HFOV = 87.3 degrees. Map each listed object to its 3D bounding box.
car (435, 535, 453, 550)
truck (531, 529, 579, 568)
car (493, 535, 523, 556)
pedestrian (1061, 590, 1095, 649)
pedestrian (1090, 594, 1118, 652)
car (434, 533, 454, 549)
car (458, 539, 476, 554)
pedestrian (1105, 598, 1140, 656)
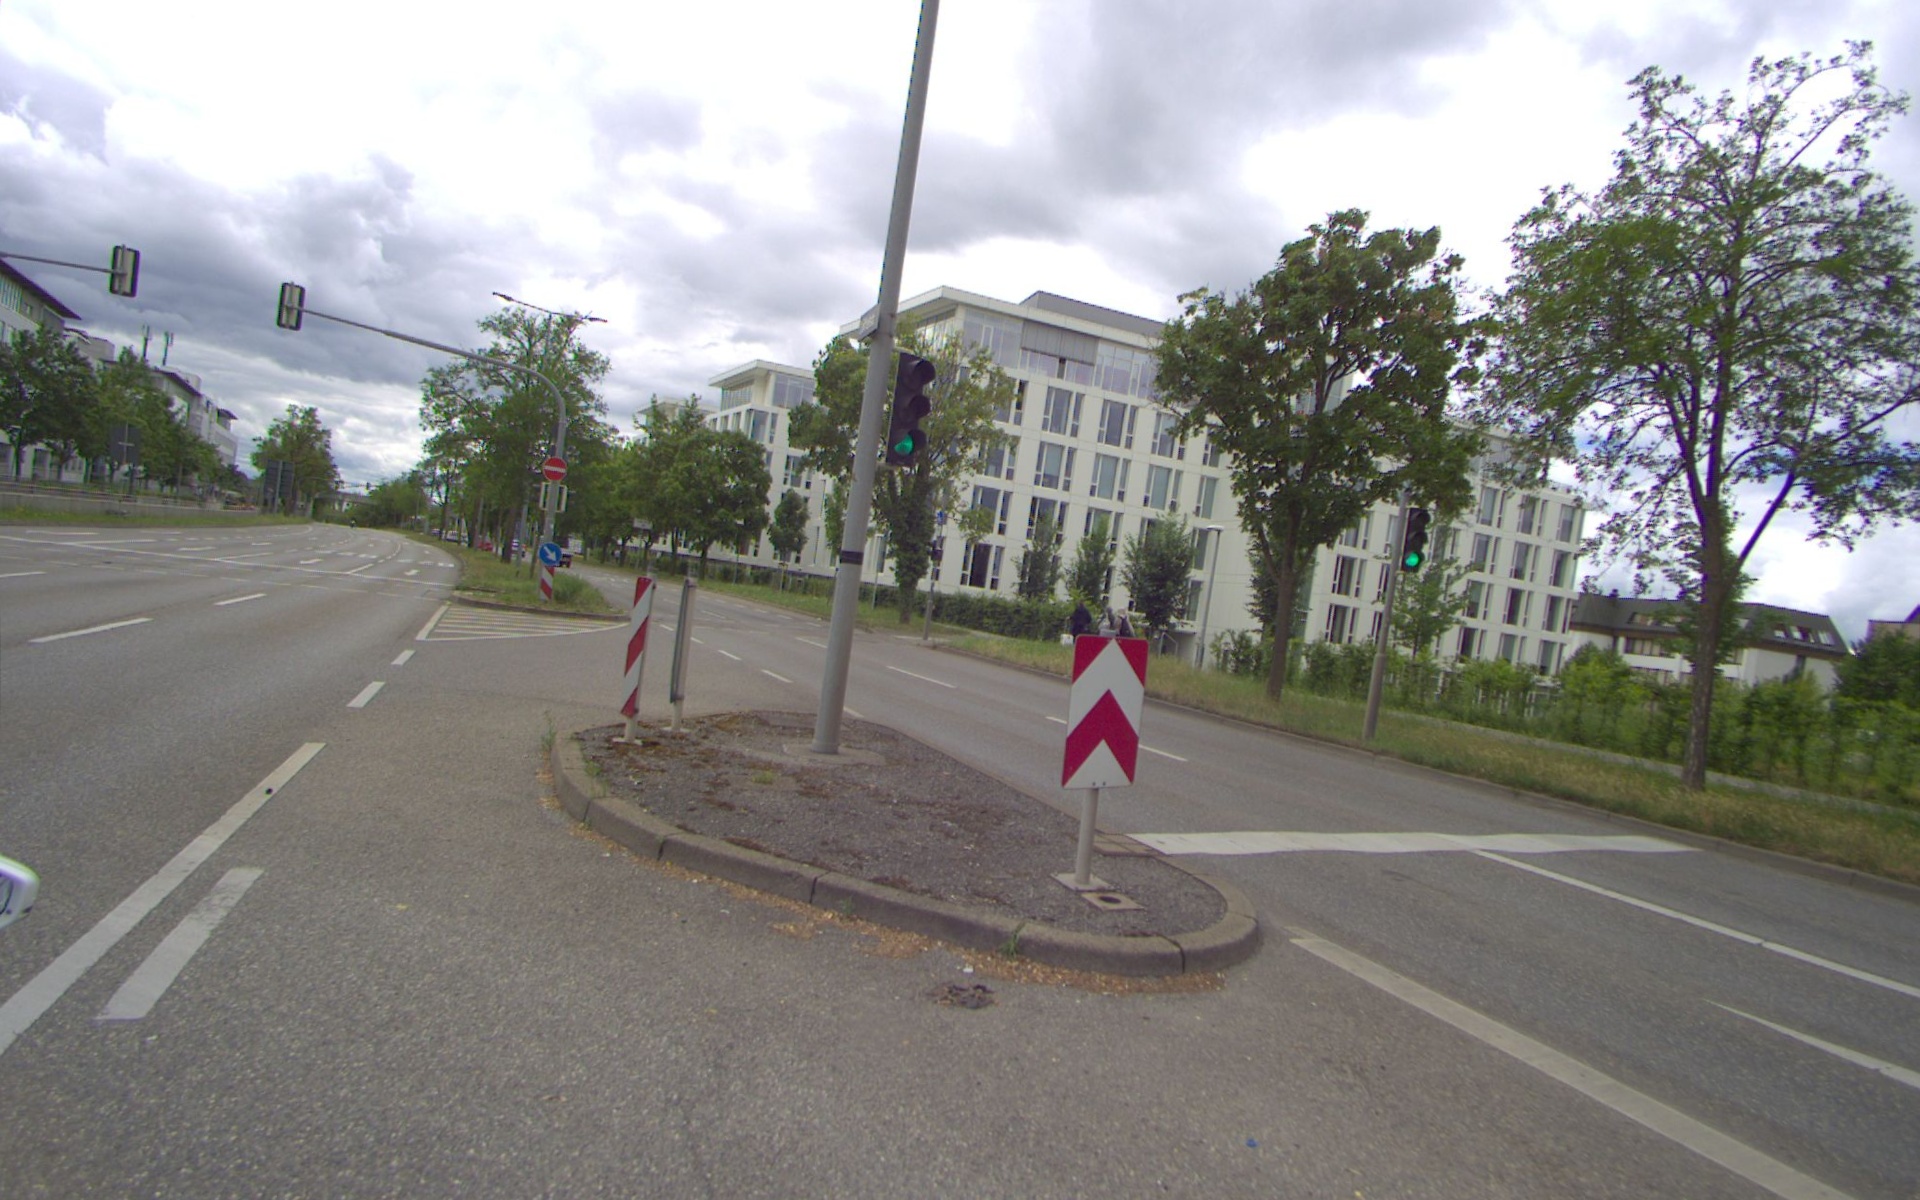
[{"bbox_3d":[-73.227,-8.181,142.714,1.980,1.669,3.971,10,-3,-29],"label":"car"},{"bbox_3d":[-30.742,-3.870,76.261,2.537,2.403,4.556,10,-3,-29],"label":"truck"},{"bbox_3d":[-42.984,-5.174,95.628,1.860,1.692,3.852,10,-3,-33],"label":"car"},{"bbox_3d":[3.554,0.593,30.306,0.720,1.644,1.036,8,-2,2],"label":"pedestrian"},{"bbox_3d":[4.339,0.702,30.310,0.555,1.644,0.709,8,-1,3],"label":"pedestrian"},{"bbox_3d":[-66.721,-7.561,130.128,1.980,1.669,3.971,10,-3,-29],"label":"car"},{"bbox_3d":[-75.806,-8.189,154.598,1.981,1.887,3.969,10,-3,-31],"label":"car"},{"bbox_3d":[4.969,0.842,30.738,0.676,1.644,0.661,8,-2,28],"label":"pedestrian"}]
